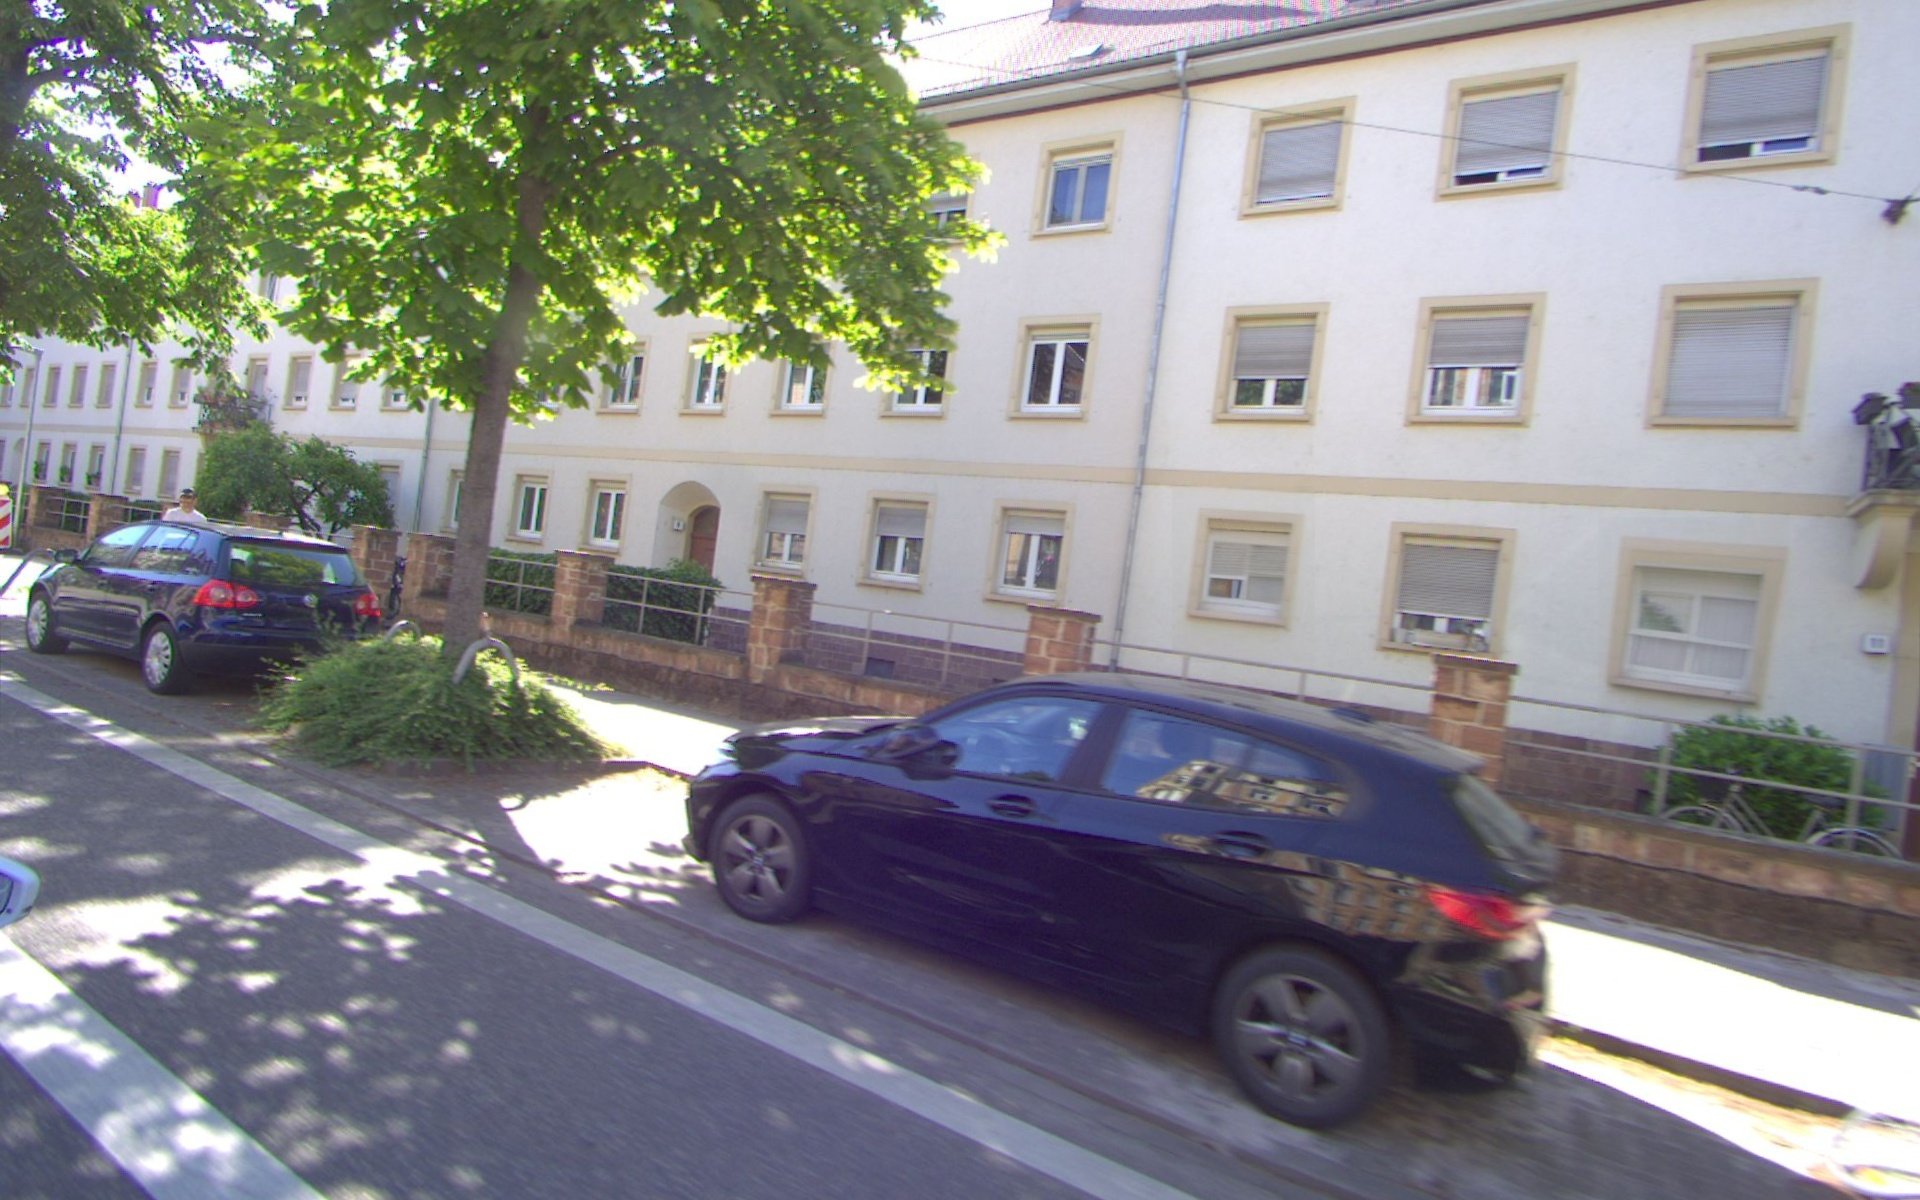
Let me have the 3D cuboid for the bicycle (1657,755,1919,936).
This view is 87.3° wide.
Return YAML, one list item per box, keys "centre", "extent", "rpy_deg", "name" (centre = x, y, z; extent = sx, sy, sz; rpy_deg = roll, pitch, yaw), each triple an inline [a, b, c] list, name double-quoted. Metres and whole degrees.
- centre: [6.935, 1.989, 8.275]
  extent: [1.840, 1.066, 0.560]
  rpy_deg: [7, 0, 32]
  name: "bicycle"

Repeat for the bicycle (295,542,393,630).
- centre: [-10.044, -0.239, 16.384]
  extent: [1.712, 1.235, 0.543]
  rpy_deg: [7, 0, 31]
  name: "bicycle"

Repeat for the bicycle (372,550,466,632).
- centre: [-9.504, -0.162, 17.656]
  extent: [1.712, 1.235, 0.543]
  rpy_deg: [7, 0, 31]
  name: "bicycle"

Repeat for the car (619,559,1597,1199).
- centre: [0.516, 0.969, 4.935]
  extent: [4.160, 1.781, 1.669]
  rpy_deg: [7, -1, 31]
  name: "car"

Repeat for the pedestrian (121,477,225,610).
- centre: [-11.445, -0.809, 14.651]
  extent: [0.896, 1.794, 0.600]
  rpy_deg: [6, 2, 1]
  name: "pedestrian"

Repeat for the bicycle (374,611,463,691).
- centre: [-9.997, 0.938, 18.558]
  extent: [1.712, 1.235, 0.543]
  rpy_deg: [7, 0, 31]
  name: "bicycle"

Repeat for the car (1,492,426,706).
- centre: [-7.334, -0.055, 9.799]
  extent: [4.174, 1.492, 1.723]
  rpy_deg: [7, 0, 30]
  name: "car"
